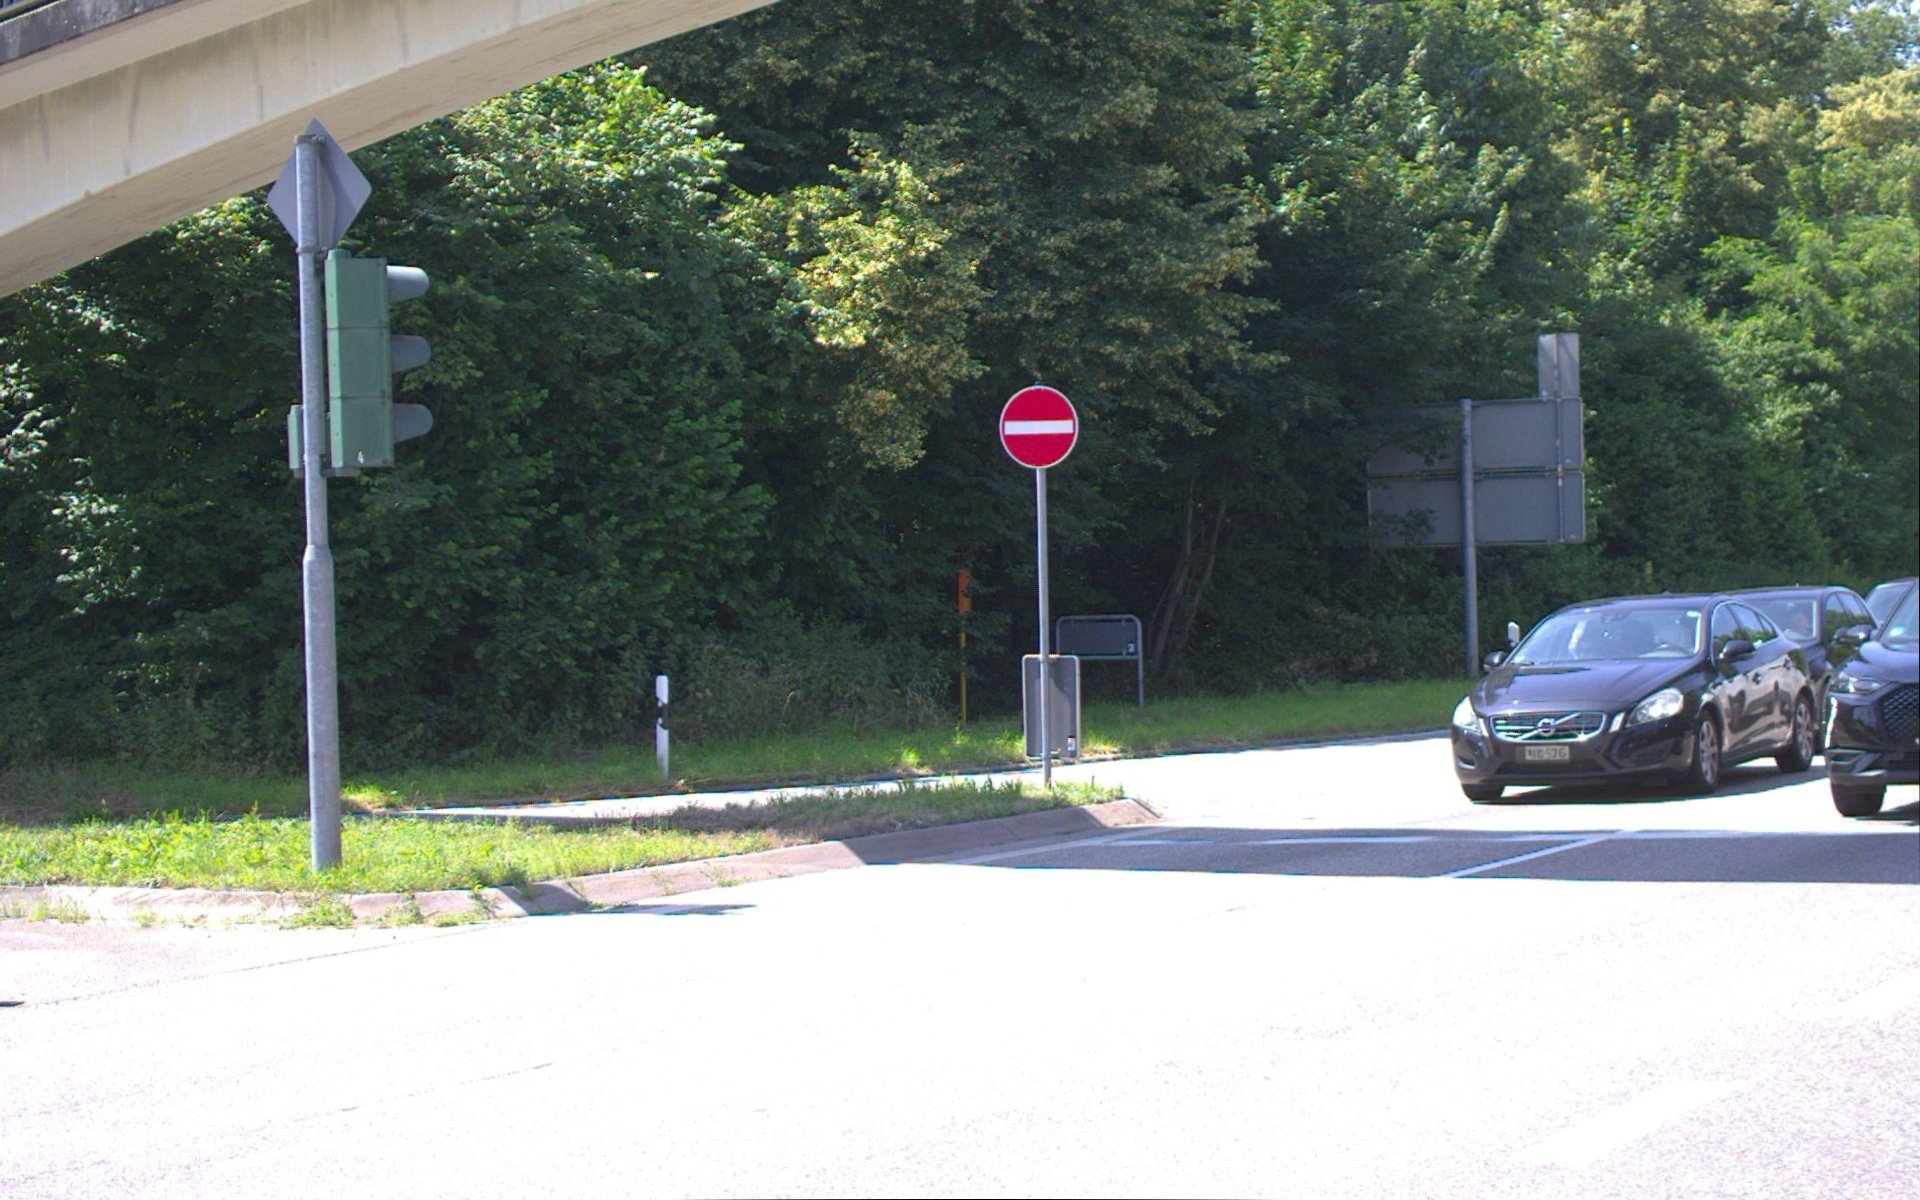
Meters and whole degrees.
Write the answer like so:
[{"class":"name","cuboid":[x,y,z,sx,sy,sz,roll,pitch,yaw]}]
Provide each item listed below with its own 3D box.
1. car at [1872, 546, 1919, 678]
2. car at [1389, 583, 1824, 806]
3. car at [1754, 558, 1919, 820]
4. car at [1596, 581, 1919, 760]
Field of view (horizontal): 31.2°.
[{"class":"car","cuboid":[11.949,0.092,39.377,2.011,1.455,4.049,-1,0,28]},{"class":"car","cuboid":[4.896,0.662,25.594,2.011,1.455,4.049,-2,0,28]},{"class":"car","cuboid":[6.627,0.482,21.921,1.996,1.518,4.021,-3,-1,28]},{"class":"car","cuboid":[7.475,0.611,31.611,2.011,1.455,4.049,-2,0,28]}]
